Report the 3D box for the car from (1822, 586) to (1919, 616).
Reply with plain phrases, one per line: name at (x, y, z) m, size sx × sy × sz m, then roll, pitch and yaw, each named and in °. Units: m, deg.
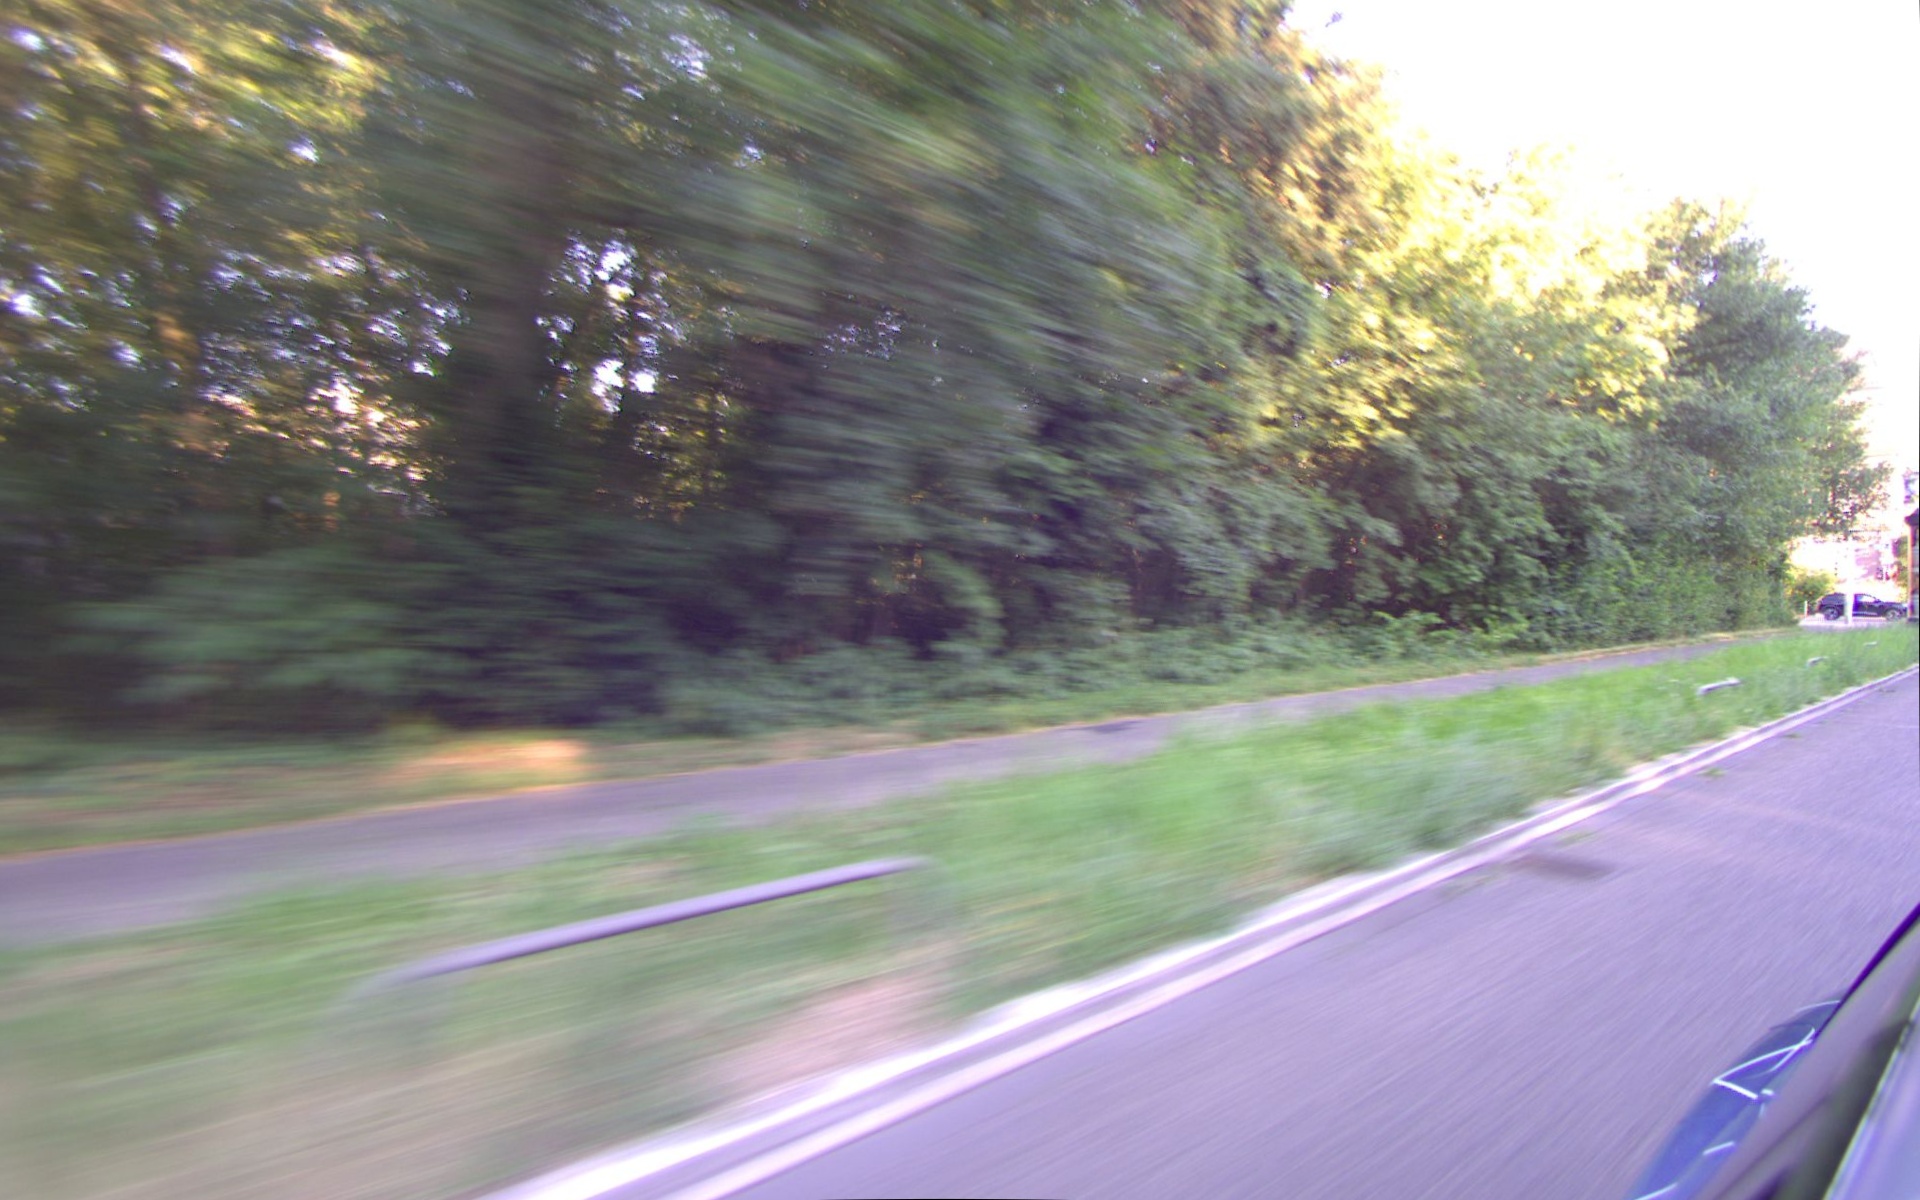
car at (50.254, 0.025, 55.754) m, size 1.655 × 1.555 × 3.993 m, roll 0°, pitch 1°, yaw -42°
